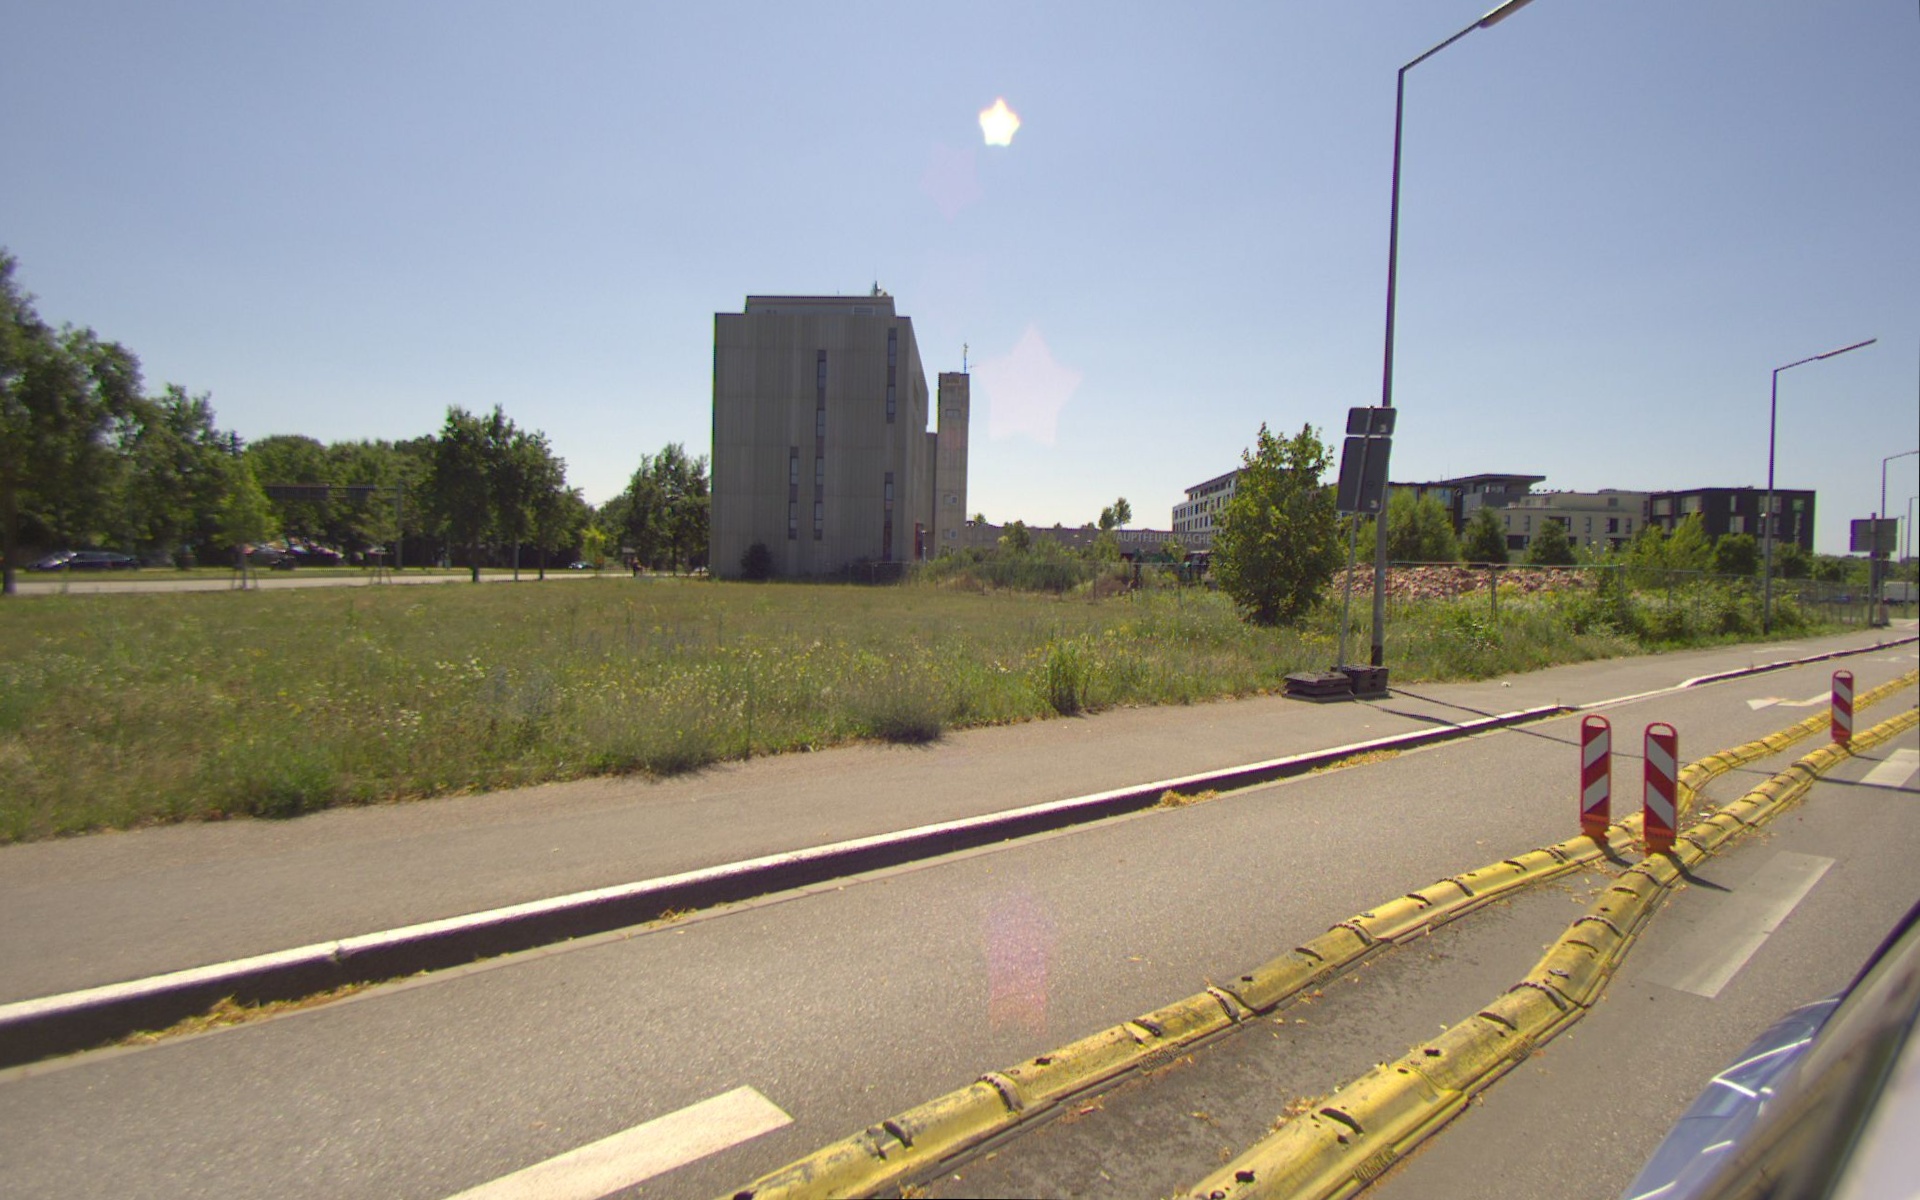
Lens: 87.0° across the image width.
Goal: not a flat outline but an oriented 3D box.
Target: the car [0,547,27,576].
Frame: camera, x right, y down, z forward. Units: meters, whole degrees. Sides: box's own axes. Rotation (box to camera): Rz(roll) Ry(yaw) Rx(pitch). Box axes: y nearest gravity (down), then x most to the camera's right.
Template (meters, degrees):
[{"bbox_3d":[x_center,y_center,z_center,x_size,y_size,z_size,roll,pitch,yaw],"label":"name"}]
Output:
[{"bbox_3d":[-49.266,-1.947,50.202,1.830,1.440,4.407,1,1,1],"label":"car"}]

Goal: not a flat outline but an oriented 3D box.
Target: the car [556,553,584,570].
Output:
[{"bbox_3d":[-48.363,-4.767,125.645,1.962,2.039,4.000,0,1,0],"label":"car"}]

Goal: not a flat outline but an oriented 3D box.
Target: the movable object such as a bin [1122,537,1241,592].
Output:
[{"bbox_3d":[13.668,-2.118,62.145,7.459,3.188,2.815,-1,1,-34],"label":"movable object such as a bin"}]

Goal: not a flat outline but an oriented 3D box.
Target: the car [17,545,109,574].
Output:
[{"bbox_3d":[-49.000,-2.176,55.379,1.688,1.493,3.797,0,1,0],"label":"car"}]

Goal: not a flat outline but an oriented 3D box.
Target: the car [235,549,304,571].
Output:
[{"bbox_3d":[-48.894,-2.801,71.765,1.830,1.440,4.407,1,1,1],"label":"car"}]
